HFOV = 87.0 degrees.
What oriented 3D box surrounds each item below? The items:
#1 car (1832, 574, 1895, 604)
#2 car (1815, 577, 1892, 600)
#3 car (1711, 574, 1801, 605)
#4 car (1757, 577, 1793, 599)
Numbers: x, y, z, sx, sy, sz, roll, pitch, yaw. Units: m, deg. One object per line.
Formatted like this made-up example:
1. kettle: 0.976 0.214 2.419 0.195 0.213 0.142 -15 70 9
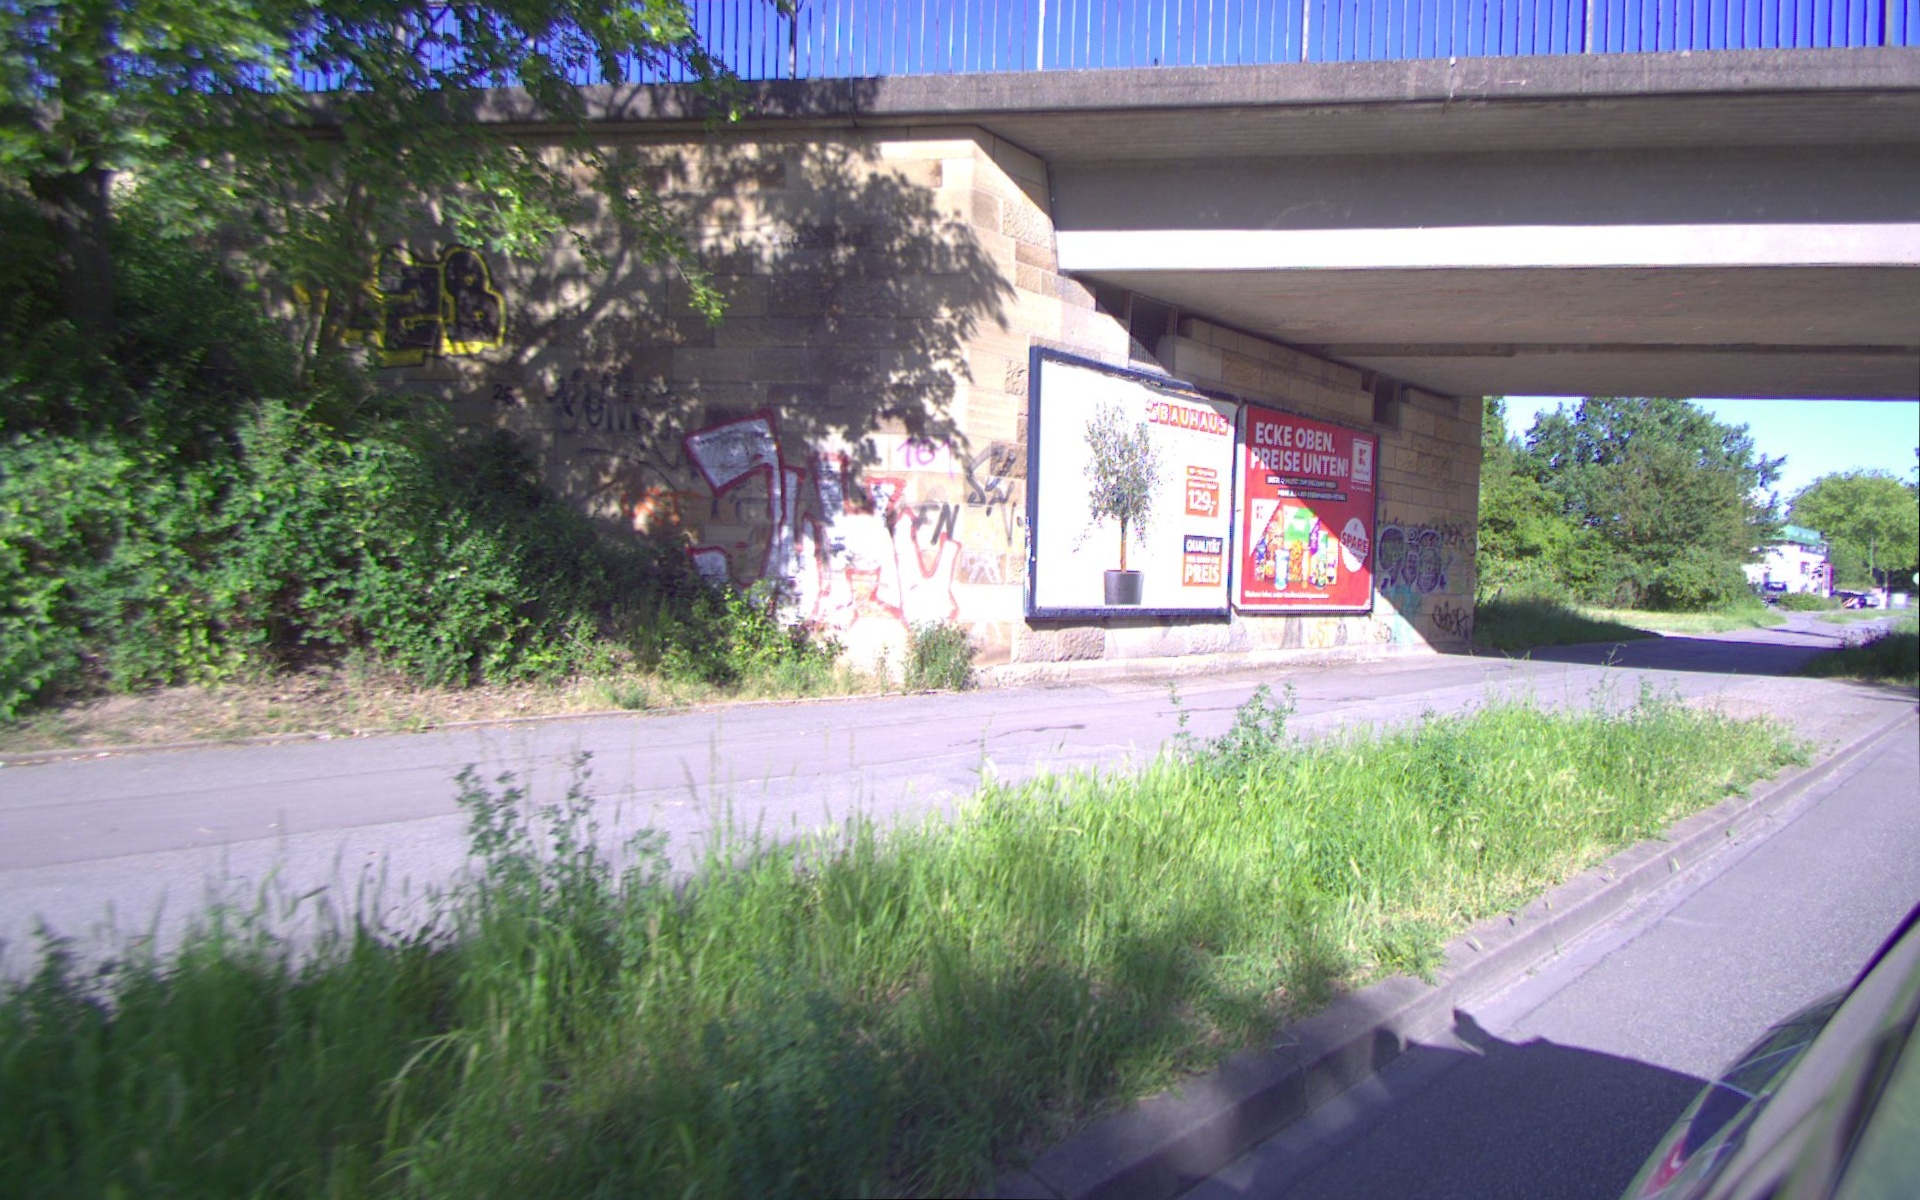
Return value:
1. car: 84.768 -1.062 95.048 1.652 2.035 4.014 6 8 -9
2. car: 77.971 -1.000 88.372 4.748 1.549 1.901 4 4 3
3. car: 52.907 -0.708 67.394 1.764 1.659 4.573 3 4 -11
4. car: 76.001 -1.126 94.376 4.146 1.882 1.897 -1 7 -43
